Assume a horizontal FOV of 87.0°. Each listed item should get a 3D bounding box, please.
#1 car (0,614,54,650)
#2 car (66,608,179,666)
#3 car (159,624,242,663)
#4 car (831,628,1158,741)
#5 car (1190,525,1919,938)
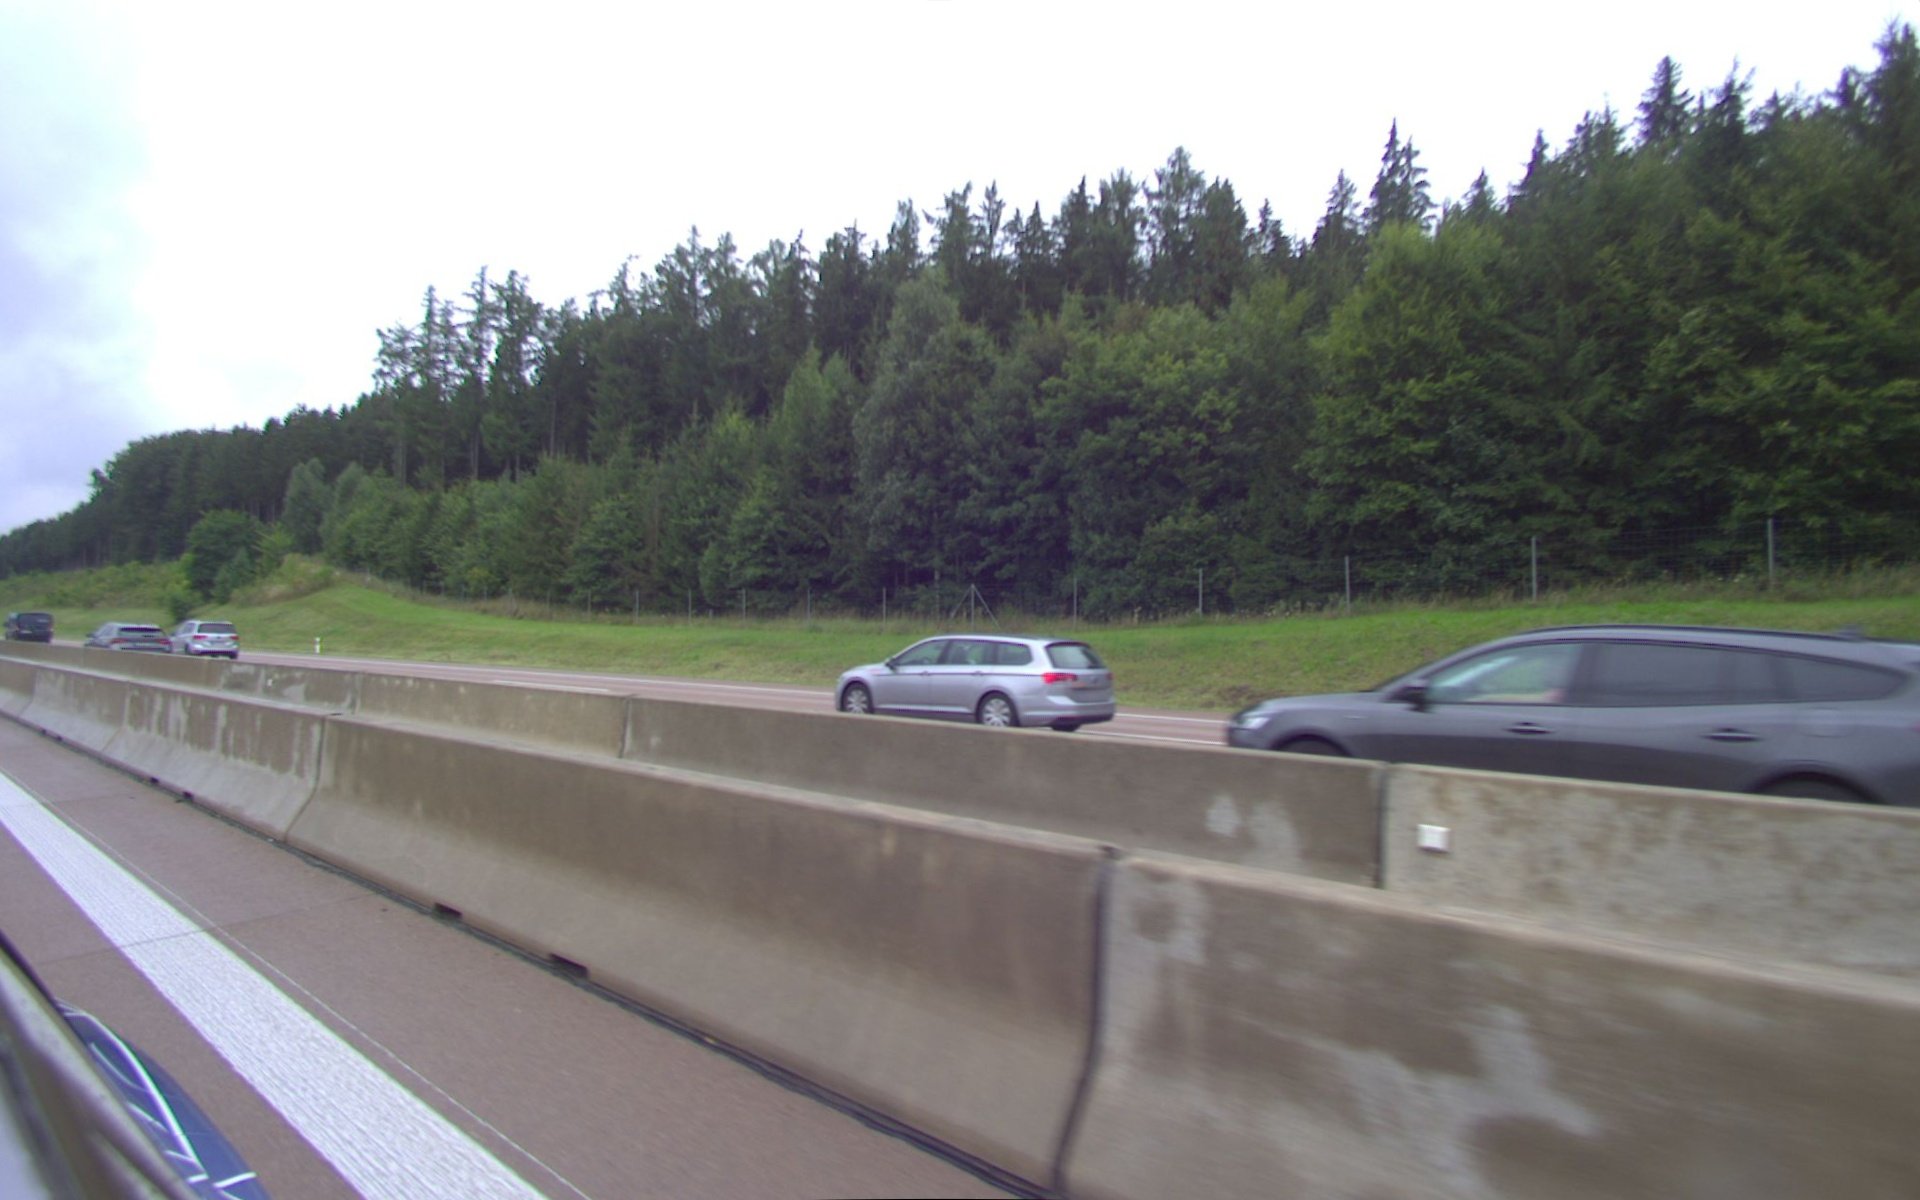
[{"bbox_3d":[-65.422,2.189,70.908,5.391,2.296,2.081,0,1,40],"label":"car"},{"bbox_3d":[-27.945,1.154,33.676,6.159,1.719,1.838,0,1,40],"label":"car"},{"bbox_3d":[-32.527,1.852,43.316,4.862,1.569,1.770,-1,-3,40],"label":"car"},{"bbox_3d":[0.361,1.147,14.805,4.806,1.400,1.632,-1,-4,40],"label":"car"},{"bbox_3d":[4.440,0.633,6.478,5.521,2.029,1.973,0,1,40],"label":"car"}]
